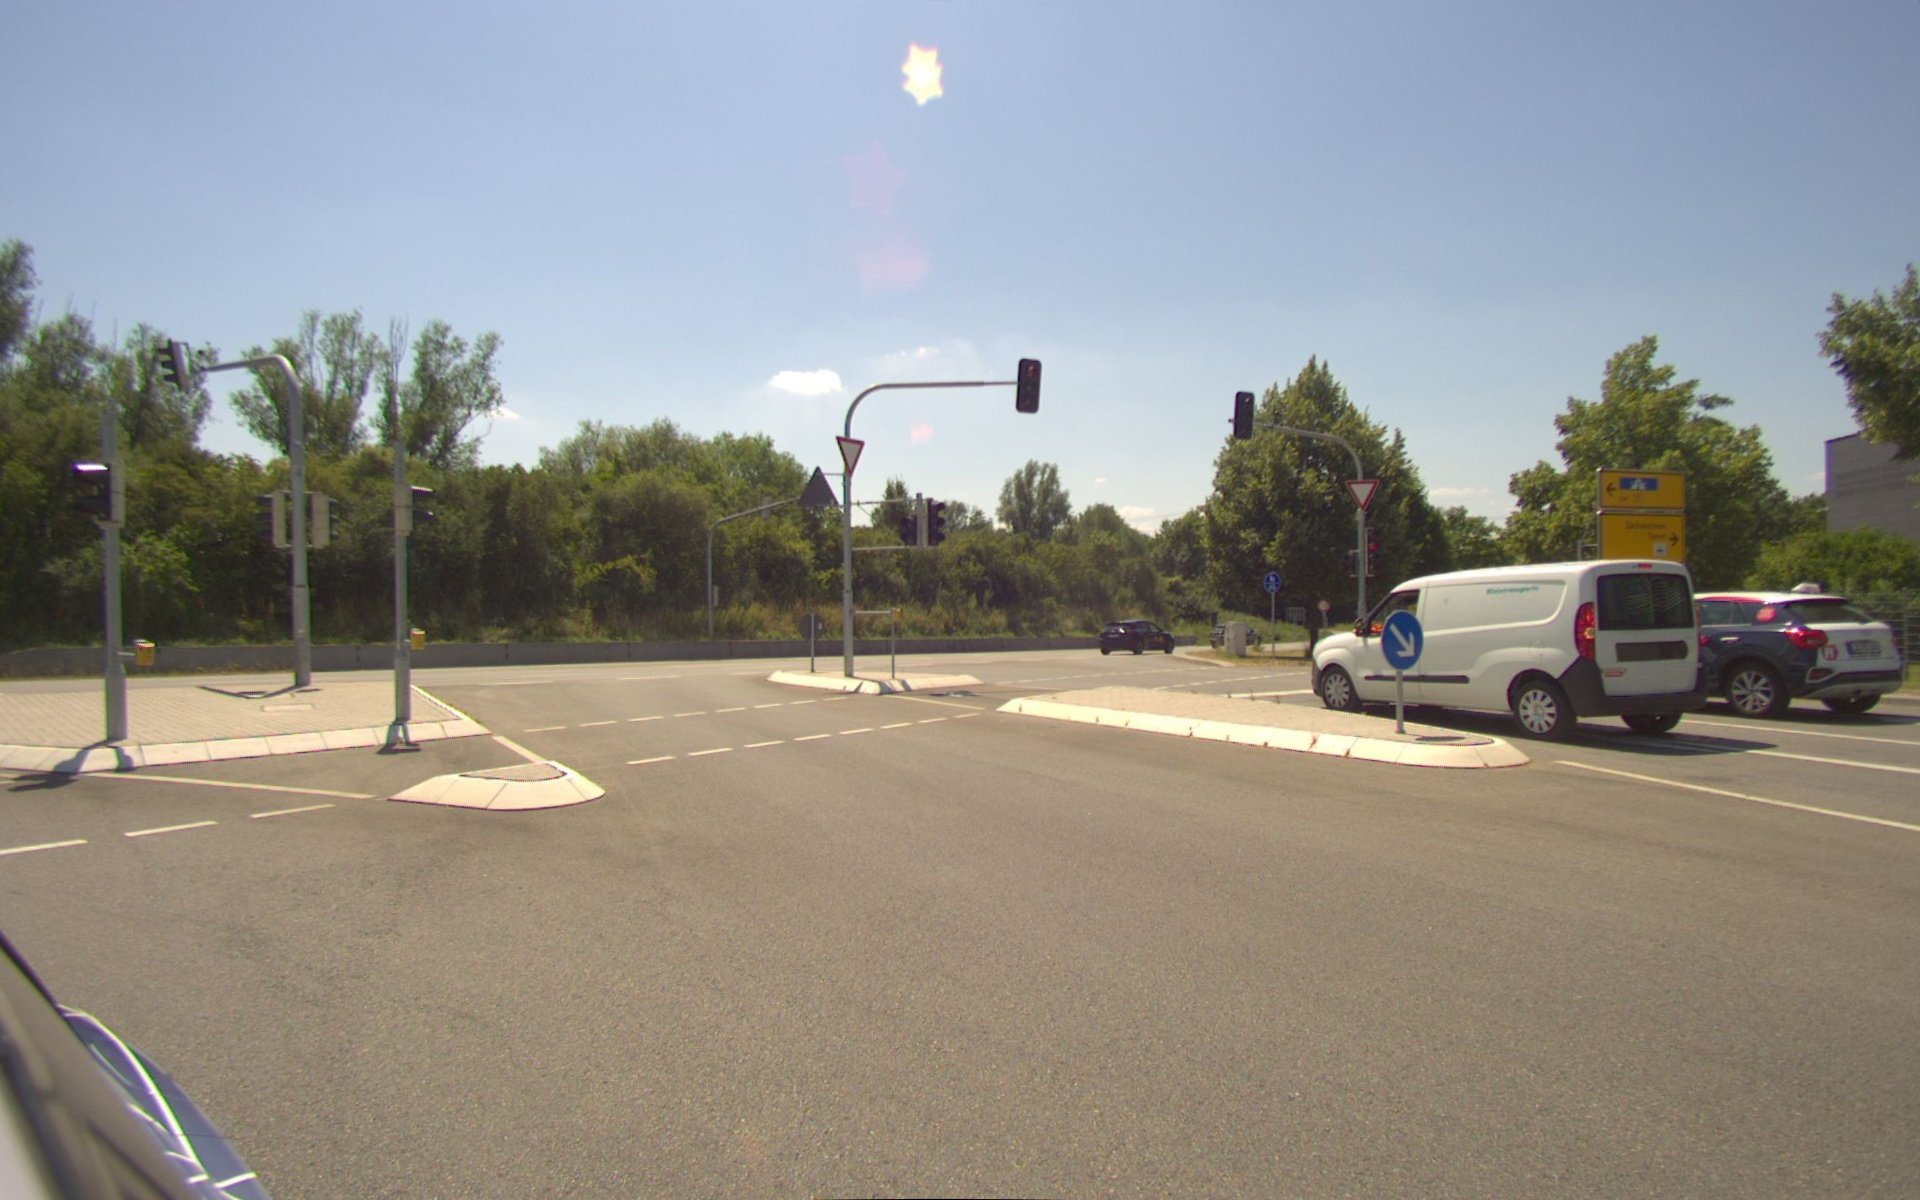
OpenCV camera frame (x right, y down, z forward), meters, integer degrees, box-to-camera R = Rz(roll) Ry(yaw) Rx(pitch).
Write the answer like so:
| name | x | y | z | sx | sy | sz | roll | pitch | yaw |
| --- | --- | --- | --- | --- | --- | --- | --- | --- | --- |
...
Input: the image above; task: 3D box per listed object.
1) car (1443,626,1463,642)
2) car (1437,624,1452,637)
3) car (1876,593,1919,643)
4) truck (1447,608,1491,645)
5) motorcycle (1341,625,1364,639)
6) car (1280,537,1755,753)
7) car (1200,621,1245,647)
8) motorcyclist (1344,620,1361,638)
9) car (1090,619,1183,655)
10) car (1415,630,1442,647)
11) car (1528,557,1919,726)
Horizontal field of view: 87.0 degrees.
| name | x | y | z | sx | sy | sz | roll | pitch | yaw |
| --- | --- | --- | --- | --- | --- | --- | --- | --- | --- |
| car | 66.984 | 4.652 | 137.465 | 1.994 | 2.029 | 3.954 | -1 | -3 | 33 |
| car | 73.601 | 4.632 | 153.609 | 1.989 | 1.796 | 3.964 | -1 | -3 | 26 |
| car | 35.109 | 0.661 | 35.439 | 3.957 | 1.719 | 1.993 | 0 | -3 | 11 |
| truck | 56.238 | 2.950 | 111.724 | 3.272 | 3.869 | 6.123 | -2 | -4 | 38 |
| motorcycle | 32.600 | 2.619 | 83.965 | 2.135 | 1.150 | 0.864 | 1 | -3 | -41 |
| car | 6.274 | 0.417 | 12.239 | 1.966 | 1.957 | 4.886 | -4 | 1 | -19 |
| car | 15.715 | 2.052 | 60.456 | 1.731 | 1.453 | 4.352 | -1 | -3 | 27 |
| motorcyclist | 32.557 | 2.395 | 83.927 | 1.157 | 1.423 | 0.877 | 3 | -4 | -40 |
| car | 7.511 | 1.536 | 42.824 | 1.740 | 1.453 | 4.236 | -2 | -2 | 45 |
| car | 52.049 | 4.309 | 112.339 | 1.996 | 1.763 | 3.952 | -2 | -3 | 35 |
| car | 9.807 | 0.436 | 13.088 | 1.966 | 1.719 | 3.877 | -4 | 1 | -19 |
